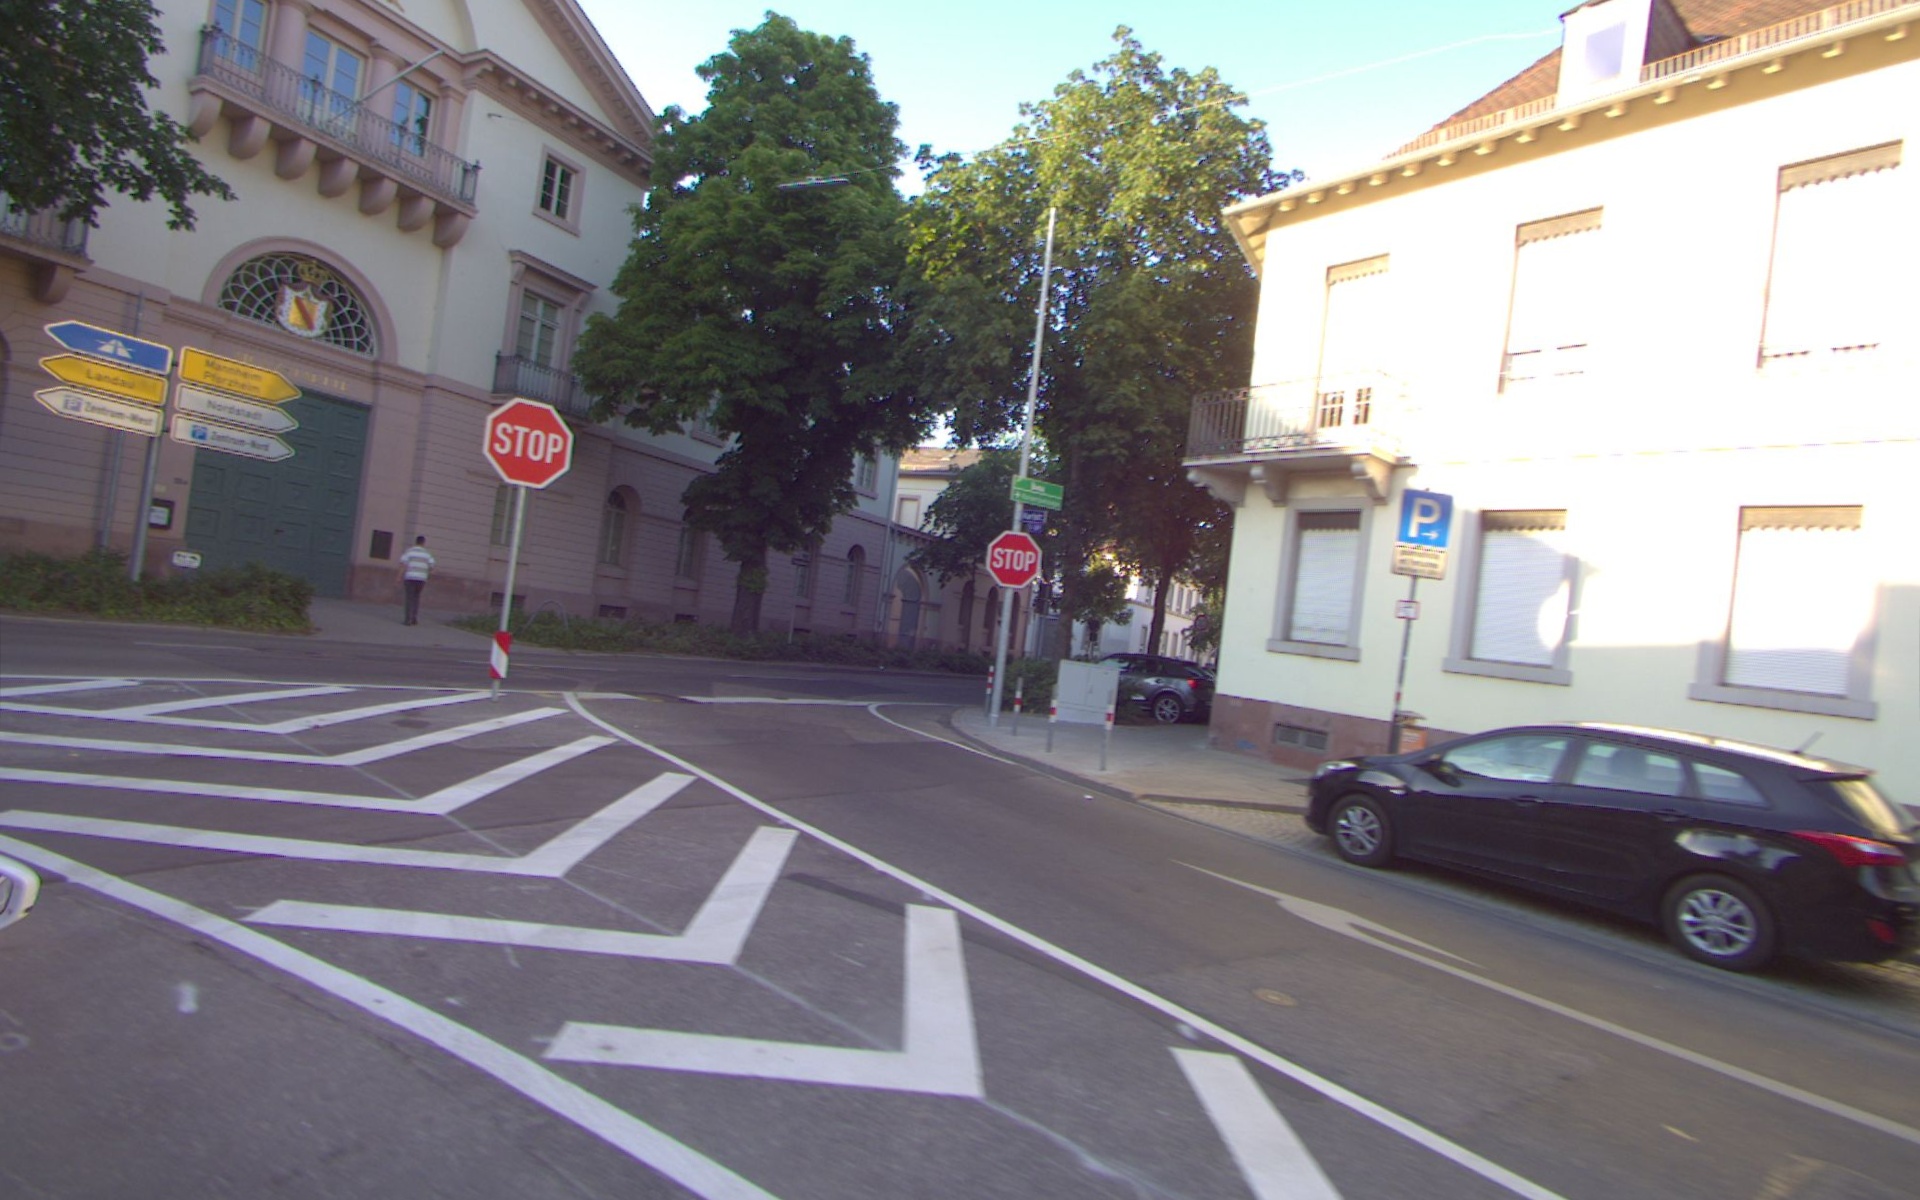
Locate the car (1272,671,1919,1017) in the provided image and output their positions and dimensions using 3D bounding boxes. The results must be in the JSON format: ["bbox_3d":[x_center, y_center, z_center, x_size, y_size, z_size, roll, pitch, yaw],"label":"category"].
[{"bbox_3d":[5.029,1.681,8.213,1.794,1.559,4.386,9,-2,-37],"label":"car"}]

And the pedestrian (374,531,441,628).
[{"bbox_3d":[-11.350,-0.432,20.681,0.796,1.853,0.918,8,-1,-44],"label":"pedestrian"}]

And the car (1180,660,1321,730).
[{"bbox_3d":[9.302,3.034,32.248,3.931,1.634,1.722,7,-2,28],"label":"car"}]

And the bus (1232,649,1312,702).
[{"bbox_3d":[21.850,5.377,69.796,2.667,3.034,12.072,5,-3,29],"label":"bus"}]

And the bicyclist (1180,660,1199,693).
[{"bbox_3d":[13.579,4.516,59.444,0.770,1.860,0.826,5,-2,29],"label":"bicyclist"}]

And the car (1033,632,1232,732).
[{"bbox_3d":[3.911,1.836,22.831,3.931,1.634,1.828,7,-2,28],"label":"car"}]

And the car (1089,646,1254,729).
[{"bbox_3d":[5.722,2.342,27.283,3.931,1.634,1.722,7,-2,28],"label":"car"}]

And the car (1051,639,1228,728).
[{"bbox_3d":[4.513,2.078,25.361,3.931,1.634,1.722,7,-2,28],"label":"car"}]
